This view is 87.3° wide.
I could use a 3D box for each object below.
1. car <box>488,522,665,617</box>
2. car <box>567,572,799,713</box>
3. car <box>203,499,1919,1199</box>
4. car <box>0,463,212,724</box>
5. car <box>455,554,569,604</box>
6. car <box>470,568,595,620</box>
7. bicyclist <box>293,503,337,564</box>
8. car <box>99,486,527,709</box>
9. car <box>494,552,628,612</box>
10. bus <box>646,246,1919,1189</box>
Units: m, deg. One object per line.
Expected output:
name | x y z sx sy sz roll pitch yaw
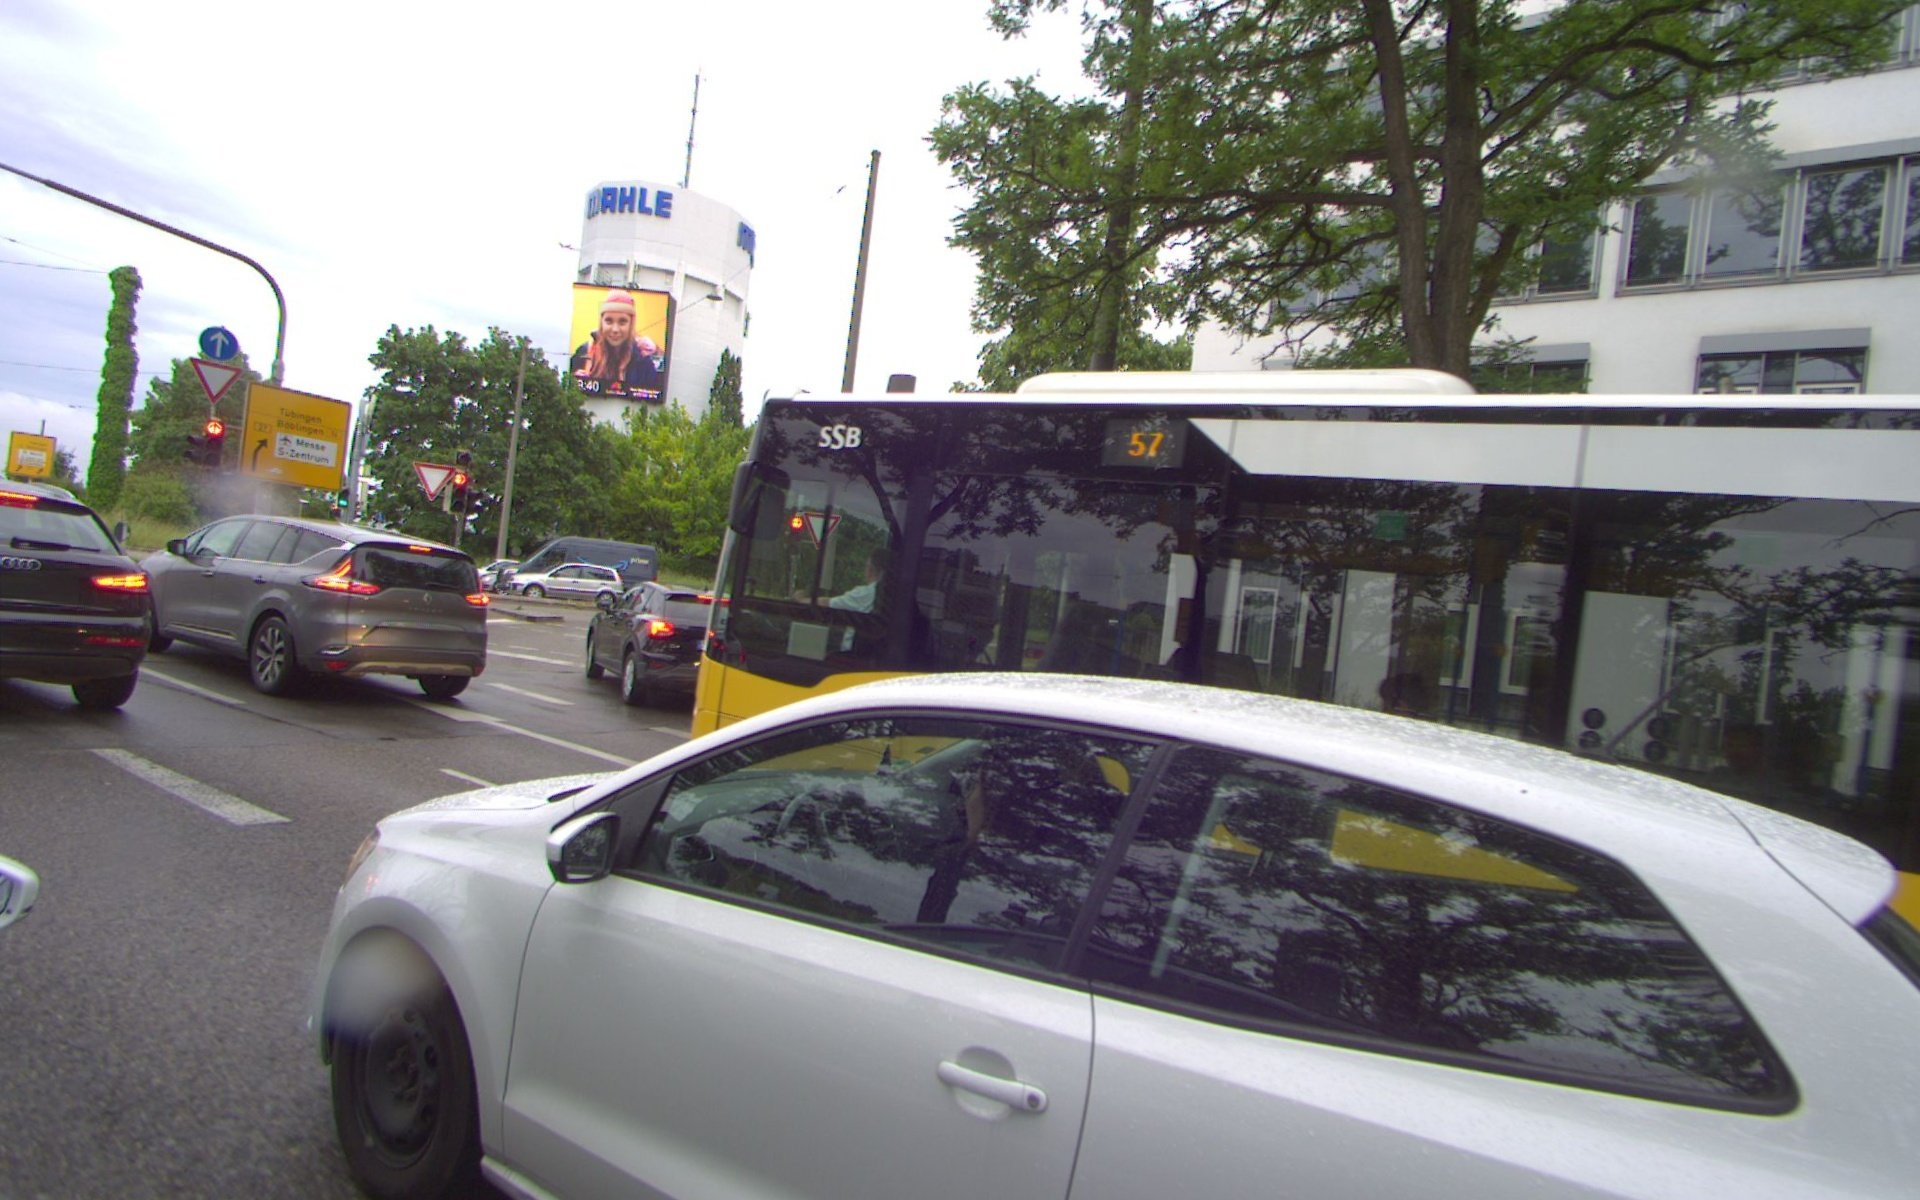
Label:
car | -14.899 -1.115 39.268 5.971 2.772 2.065 8 -3 -32
car | -3.901 0.488 13.658 1.851 1.516 4.118 5 -1 -32
car | 0.103 0.718 2.446 3.749 1.448 1.745 6 -3 32
car | -7.663 -0.211 7.455 4.045 1.613 1.889 6 -3 31
car | -19.506 -0.903 43.843 4.112 1.582 1.852 9 -2 -38
car | -17.452 -0.228 41.165 4.343 1.537 1.714 9 -2 -35
bicyclist | -18.548 -1.909 28.916 0.805 1.602 1.013 9 -2 -37
car | -6.932 -0.063 10.670 4.488 1.694 1.869 8 -1 31
car | -14.281 -0.607 36.059 4.026 1.586 1.855 9 -4 -35
bus | 3.875 0.498 4.650 11.944 3.187 2.733 7 -2 32
